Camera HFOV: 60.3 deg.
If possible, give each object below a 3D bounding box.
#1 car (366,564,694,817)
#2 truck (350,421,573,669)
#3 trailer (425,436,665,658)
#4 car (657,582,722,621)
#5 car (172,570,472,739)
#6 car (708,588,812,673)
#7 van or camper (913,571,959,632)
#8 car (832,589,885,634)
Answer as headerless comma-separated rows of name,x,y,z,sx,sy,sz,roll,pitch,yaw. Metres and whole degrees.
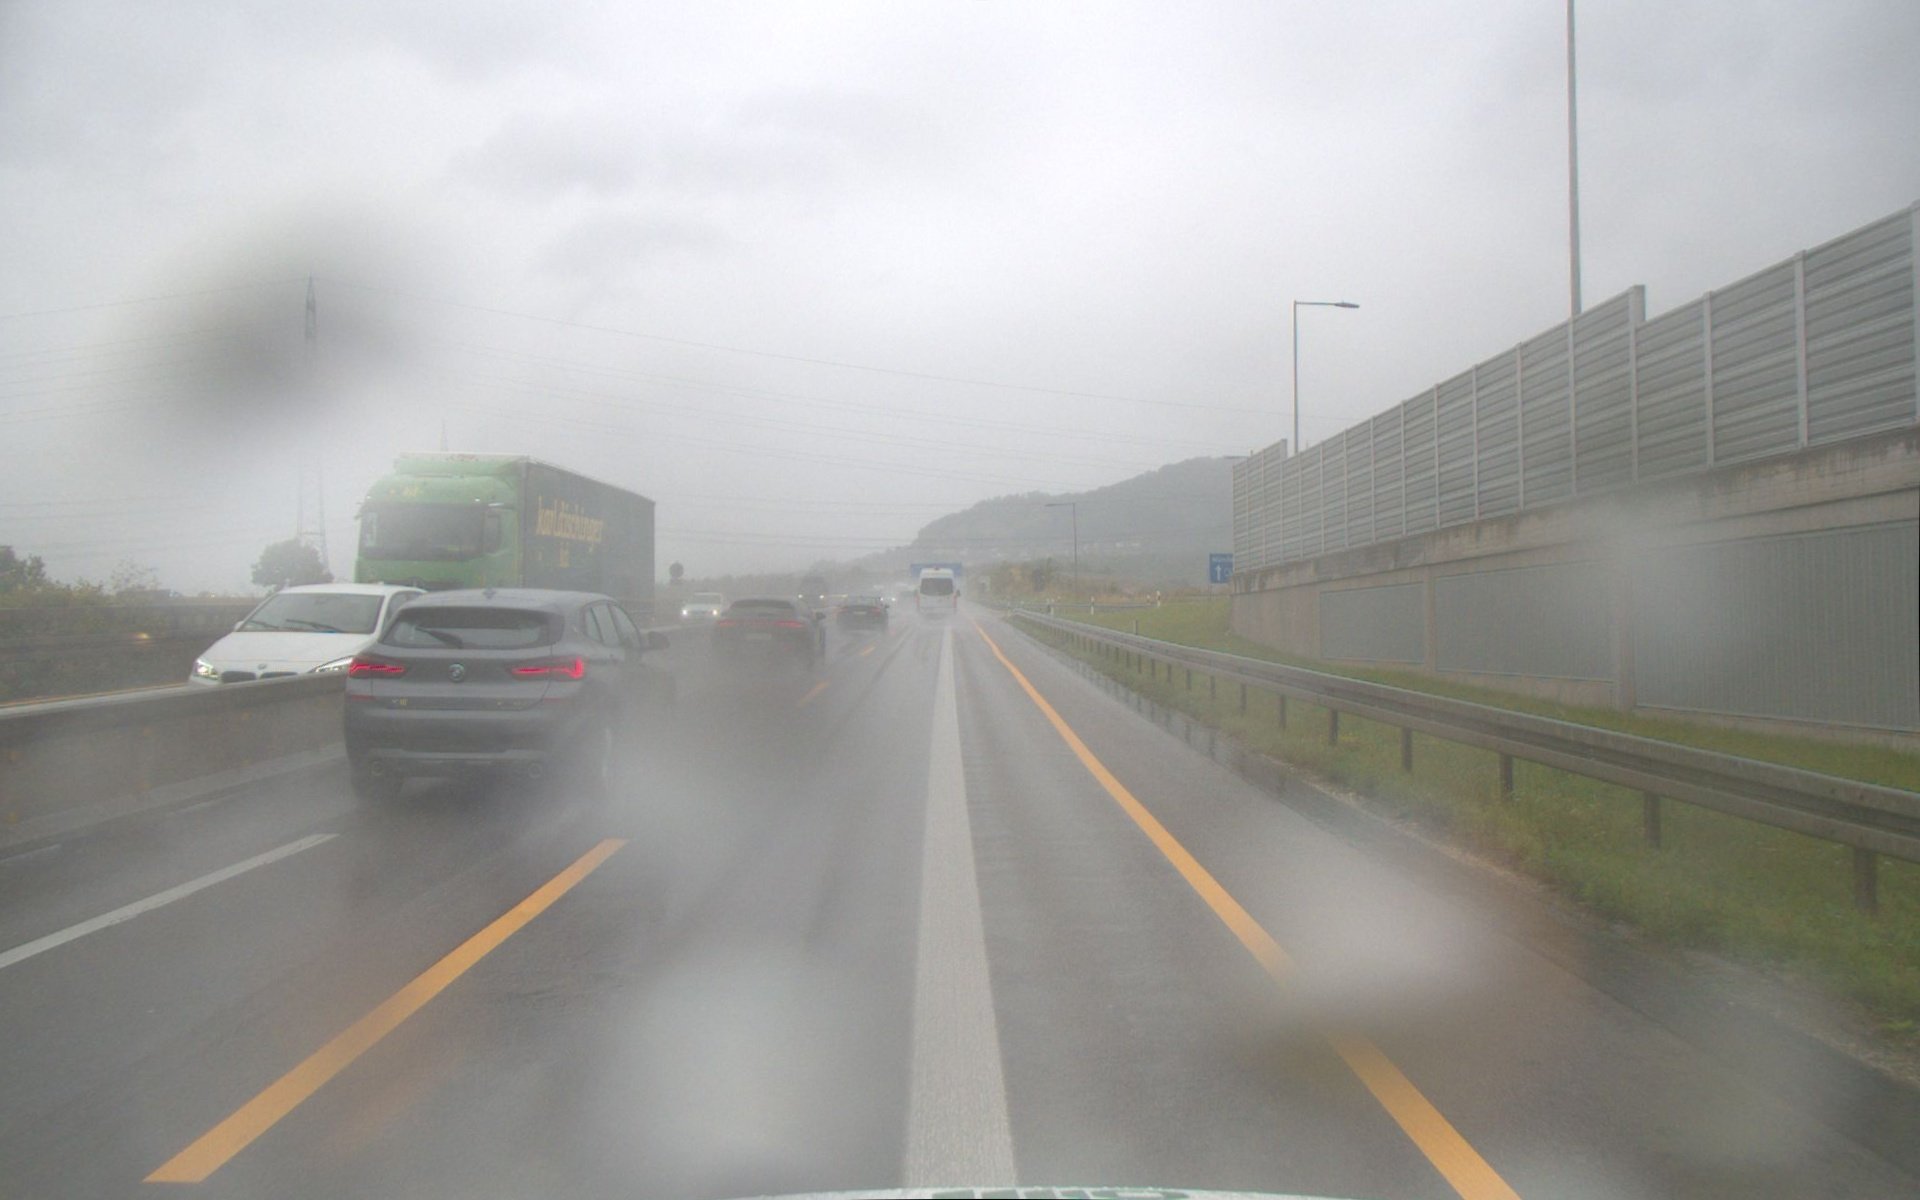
car,-3.182,0.643,13.196,1.667,1.626,4.840,1,-1,-4
truck,-9.756,-1.007,33.088,2.555,4.465,6.289,1,0,-1
trailer,-9.779,-1.112,40.921,2.528,4.535,13.551,1,0,0
car,-10.641,0.050,65.324,1.692,1.463,5.437,1,0,0
car,-6.855,0.581,18.291,1.666,1.626,4.319,1,-1,-1
car,-3.833,0.597,32.308,1.808,1.517,4.257,1,-1,-4
van or camper,-1.197,0.099,80.124,1.957,2.826,4.045,1,-1,-4
car,-3.701,0.398,60.182,1.808,1.517,4.258,-2,0,-4
